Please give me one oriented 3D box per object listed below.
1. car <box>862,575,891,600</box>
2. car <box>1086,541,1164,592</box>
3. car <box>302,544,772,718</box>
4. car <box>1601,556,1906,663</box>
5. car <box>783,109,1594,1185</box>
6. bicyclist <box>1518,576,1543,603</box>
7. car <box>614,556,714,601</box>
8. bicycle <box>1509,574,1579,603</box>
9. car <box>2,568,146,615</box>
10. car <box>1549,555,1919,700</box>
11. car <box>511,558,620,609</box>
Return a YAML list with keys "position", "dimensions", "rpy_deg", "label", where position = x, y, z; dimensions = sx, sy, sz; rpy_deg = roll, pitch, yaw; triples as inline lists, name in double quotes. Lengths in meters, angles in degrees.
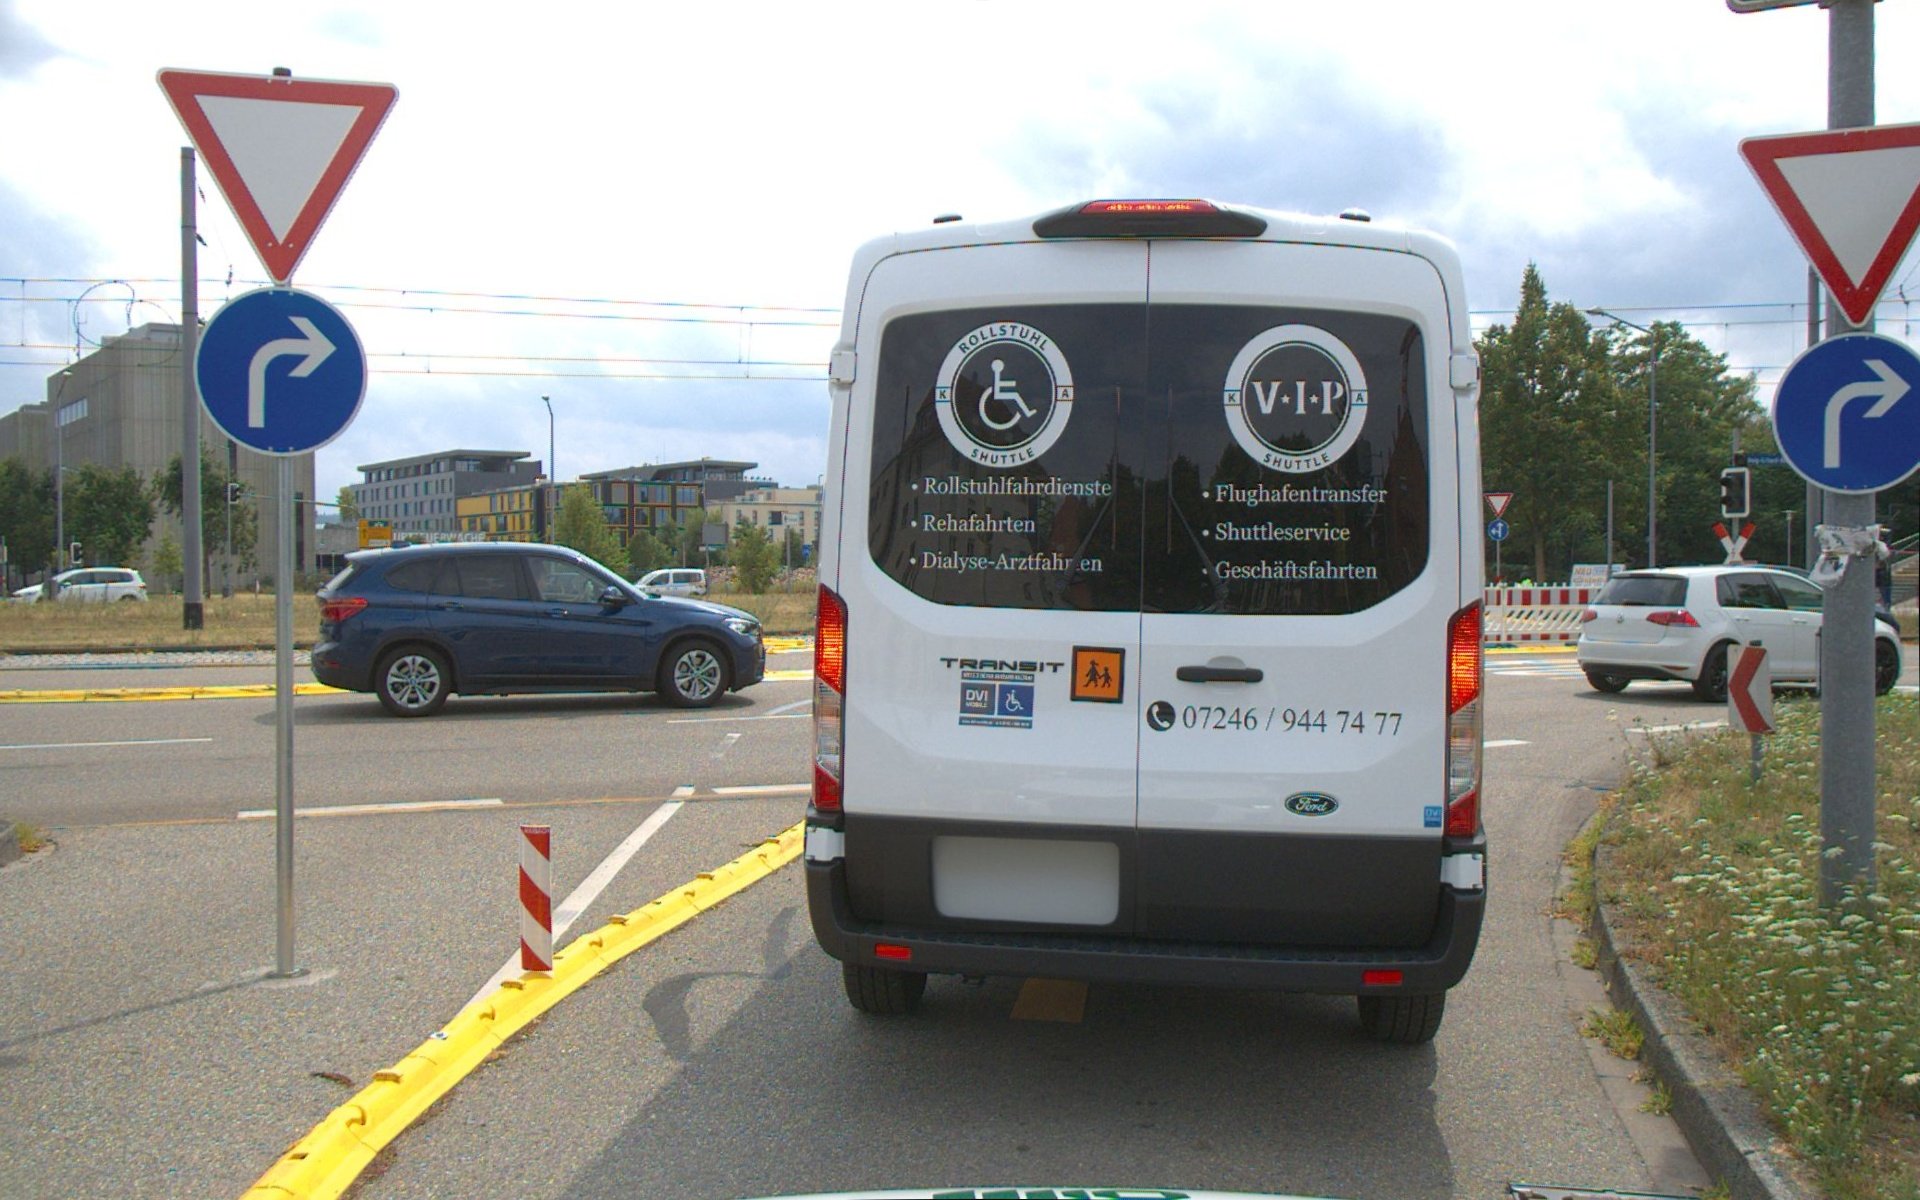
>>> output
- position: [-5.206, -0.778, 102.853]
  dimensions: [1.791, 1.489, 3.997]
  rpy_deg: [0, 0, -3]
  label: "car"
- position: [7.686, -1.564, 77.357]
  dimensions: [1.996, 2.319, 4.133]
  rpy_deg: [-1, 1, -21]
  label: "car"
- position: [-4.154, 0.237, 16.345]
  dimensions: [4.294, 1.560, 1.722]
  rpy_deg: [-1, 1, -21]
  label: "car"
- position: [12.121, 0.108, 25.331]
  dimensions: [4.034, 1.523, 1.795]
  rpy_deg: [-1, 1, -15]
  label: "car"
- position: [0.832, 0.089, 7.112]
  dimensions: [2.081, 2.744, 5.635]
  rpy_deg: [0, 1, 5]
  label: "car"
- position: [19.319, -0.363, 56.015]
  dimensions: [0.645, 0.899, 0.604]
  rpy_deg: [0, -1, 37]
  label: "bicyclist"
- position: [-13.969, -0.988, 78.081]
  dimensions: [4.294, 2.049, 1.983]
  rpy_deg: [1, -1, -26]
  label: "car"
- position: [19.677, -0.388, 55.743]
  dimensions: [2.161, 0.954, 0.611]
  rpy_deg: [0, -1, 38]
  label: "bicycle"
- position: [-32.560, -0.333, 60.881]
  dimensions: [1.904, 1.695, 4.328]
  rpy_deg: [0, 1, 42]
  label: "car"
- position: [9.048, 0.247, 19.181]
  dimensions: [4.194, 1.523, 1.787]
  rpy_deg: [-1, 1, -26]
  label: "car"
- position: [-16.284, -0.681, 68.375]
  dimensions: [3.902, 2.049, 2.001]
  rpy_deg: [0, -1, 16]
  label: "car"
